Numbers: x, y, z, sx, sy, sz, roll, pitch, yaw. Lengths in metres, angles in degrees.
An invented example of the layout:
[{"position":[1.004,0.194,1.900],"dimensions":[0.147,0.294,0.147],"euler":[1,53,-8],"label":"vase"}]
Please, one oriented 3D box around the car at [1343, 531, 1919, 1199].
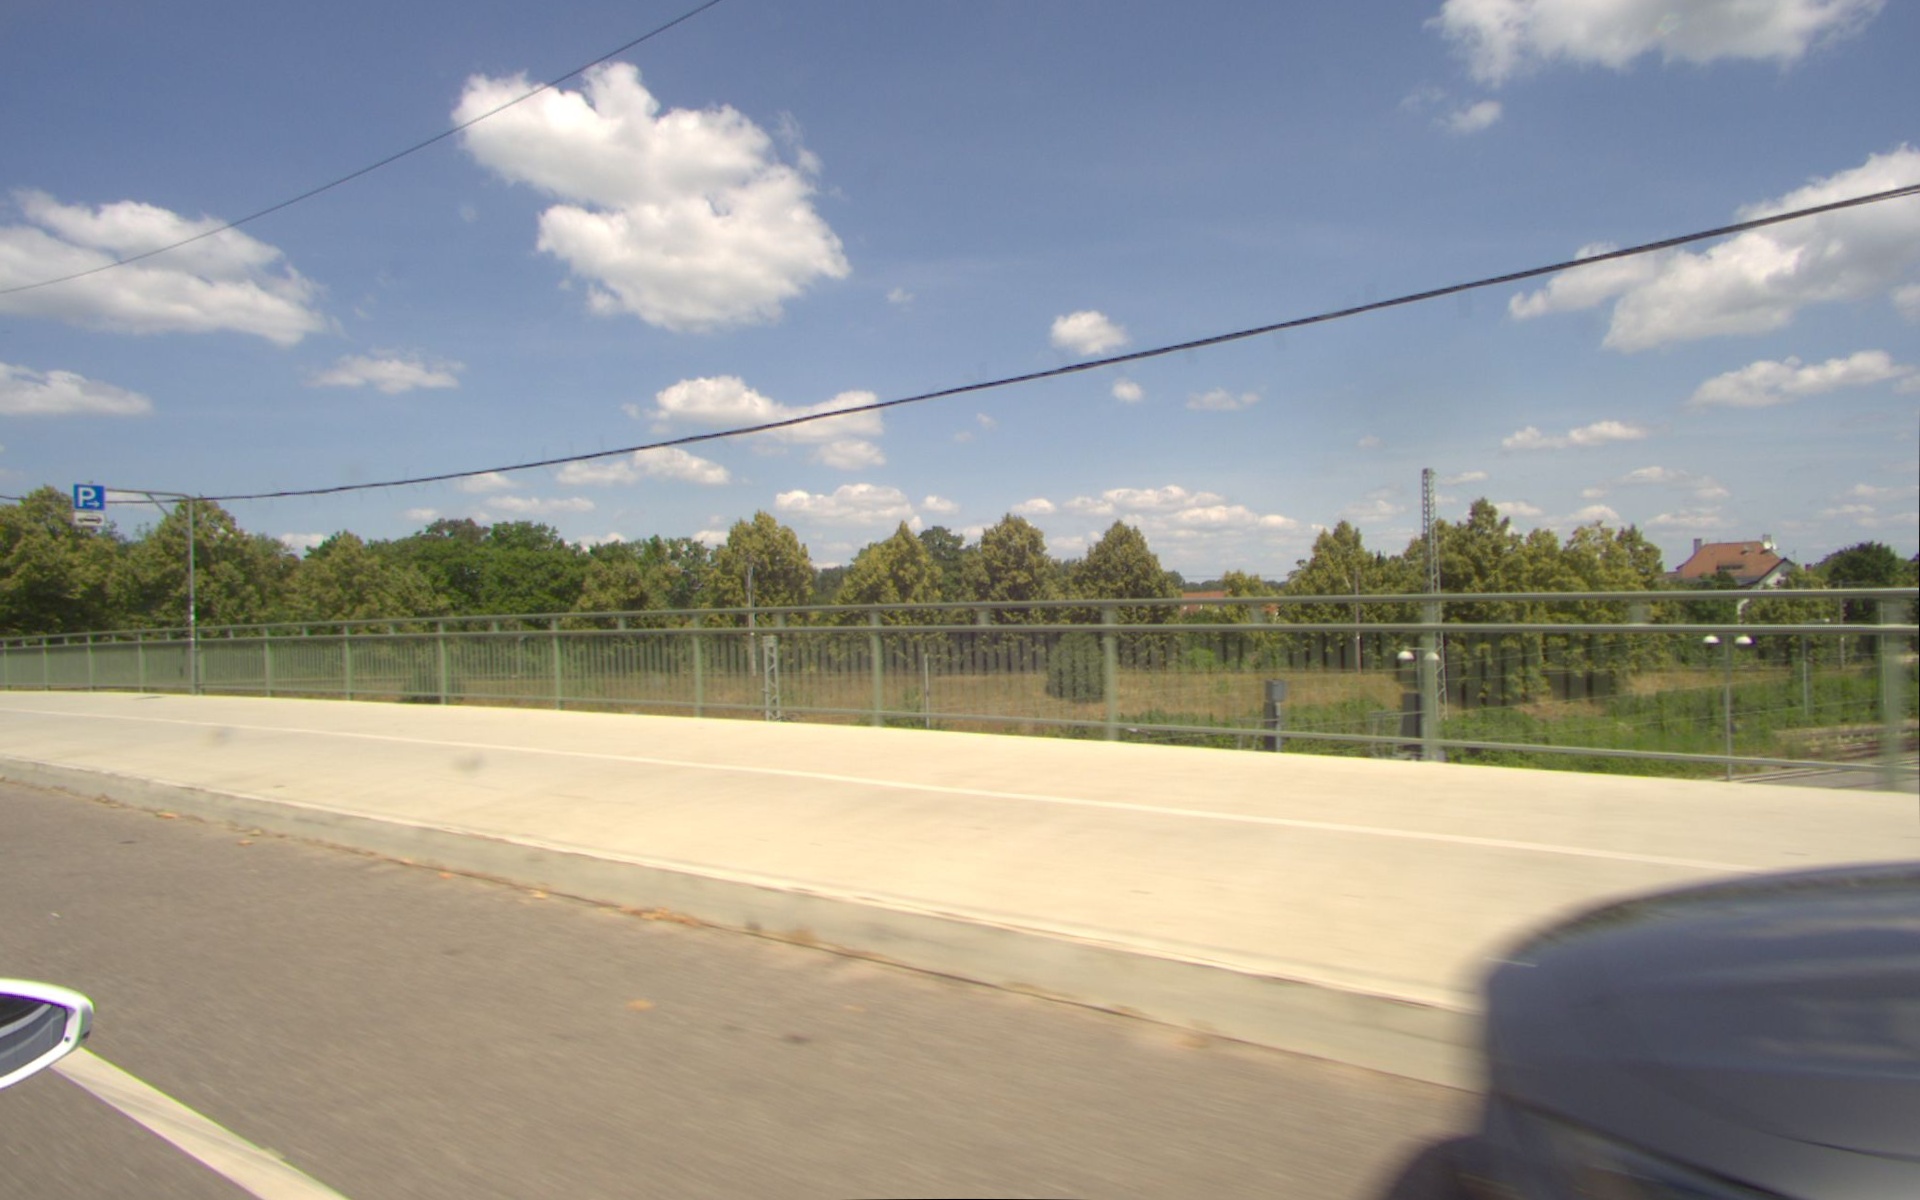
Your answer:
[{"position":[2.977,0.748,0.973],"dimensions":[4.649,1.572,1.992],"euler":[0,-1,30],"label":"car"}]
